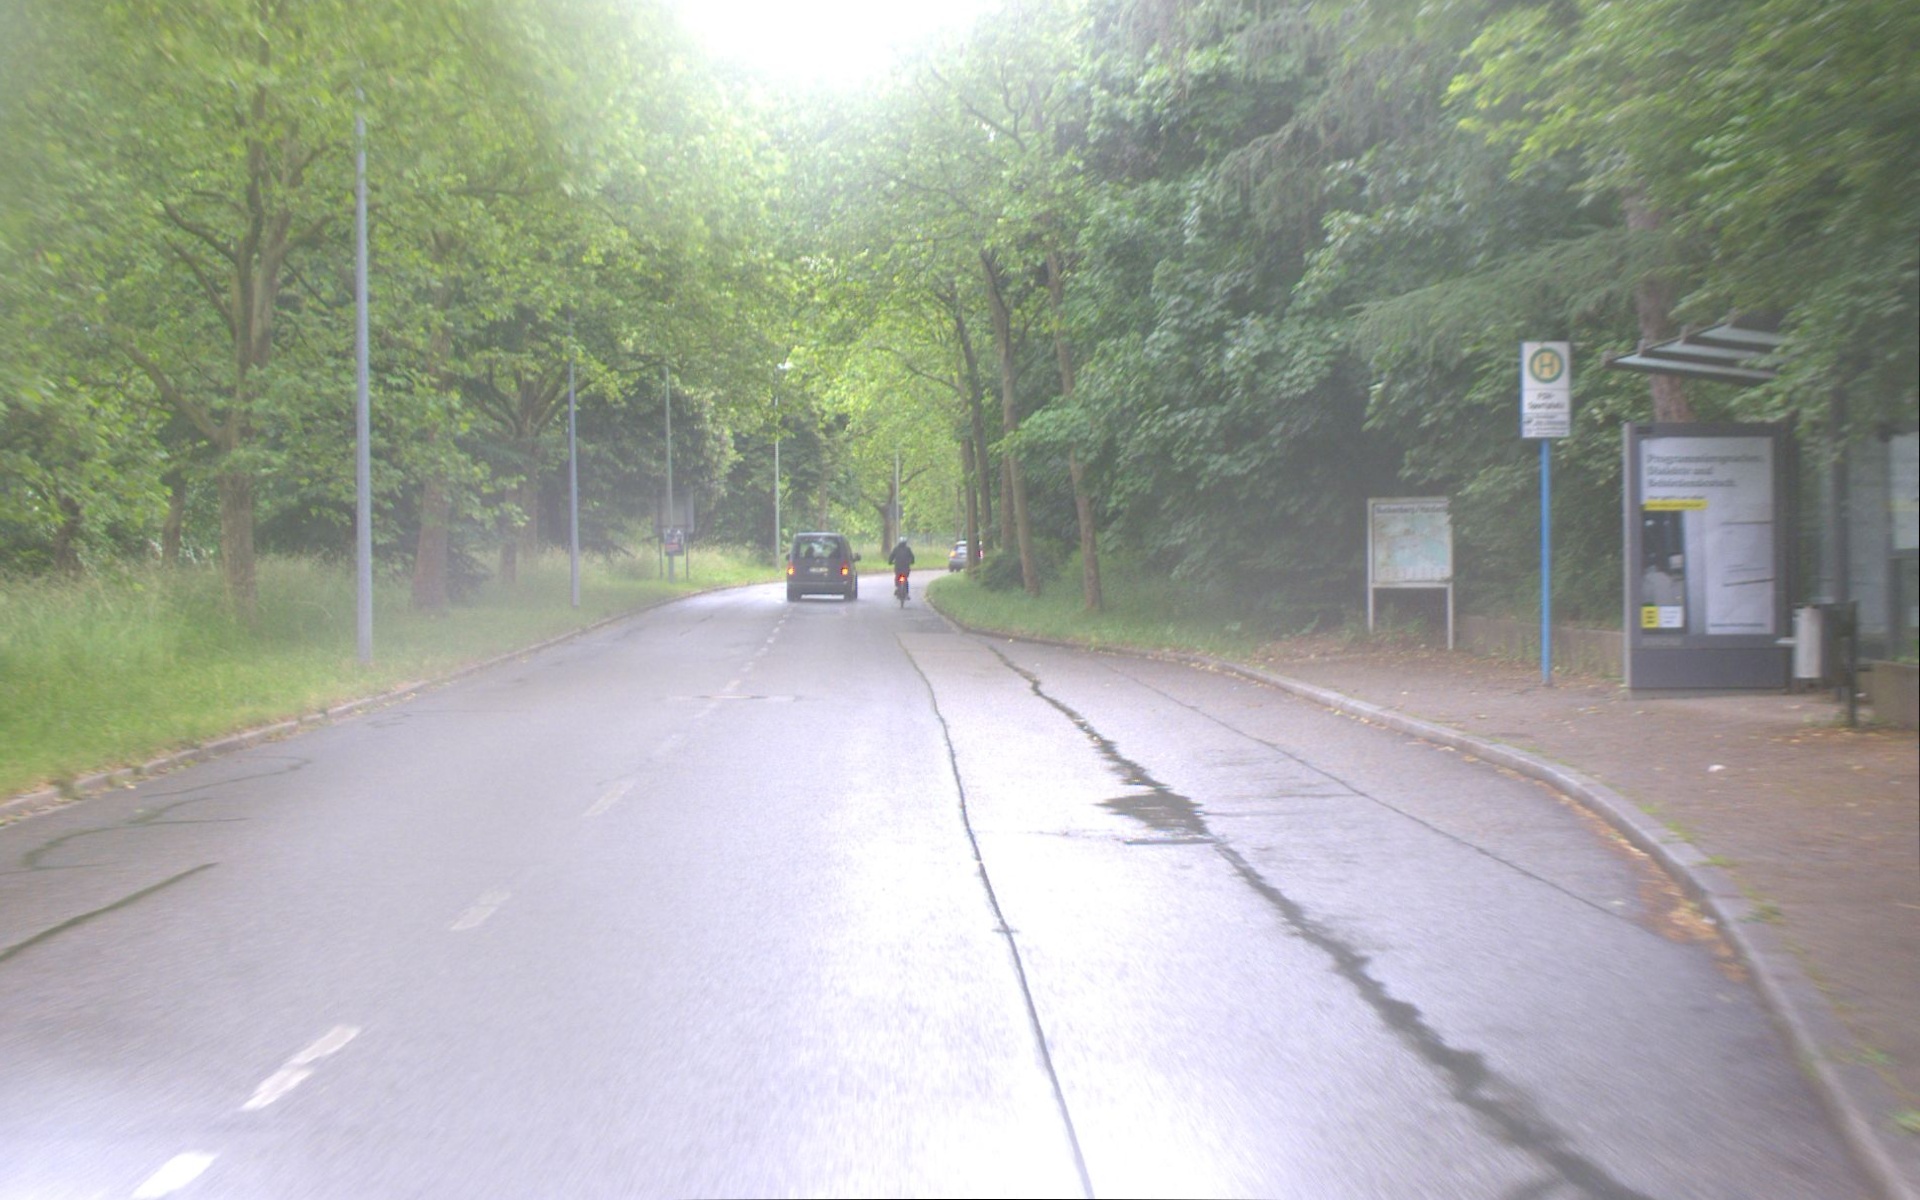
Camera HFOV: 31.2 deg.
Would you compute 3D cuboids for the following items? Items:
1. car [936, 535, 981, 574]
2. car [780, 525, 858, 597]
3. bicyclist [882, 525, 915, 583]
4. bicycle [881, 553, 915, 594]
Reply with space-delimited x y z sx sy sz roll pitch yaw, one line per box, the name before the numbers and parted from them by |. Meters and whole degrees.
car | -0.070 -2.153 163.024 1.993 1.809 4.000 1 0 -2
car | -3.840 -1.061 93.144 1.985 1.919 4.001 0 1 -4
bicyclist | -1.512 -1.143 84.560 0.730 1.406 0.973 1 1 1
bicycle | -1.523 -0.651 84.553 0.730 0.970 2.173 1 1 1
